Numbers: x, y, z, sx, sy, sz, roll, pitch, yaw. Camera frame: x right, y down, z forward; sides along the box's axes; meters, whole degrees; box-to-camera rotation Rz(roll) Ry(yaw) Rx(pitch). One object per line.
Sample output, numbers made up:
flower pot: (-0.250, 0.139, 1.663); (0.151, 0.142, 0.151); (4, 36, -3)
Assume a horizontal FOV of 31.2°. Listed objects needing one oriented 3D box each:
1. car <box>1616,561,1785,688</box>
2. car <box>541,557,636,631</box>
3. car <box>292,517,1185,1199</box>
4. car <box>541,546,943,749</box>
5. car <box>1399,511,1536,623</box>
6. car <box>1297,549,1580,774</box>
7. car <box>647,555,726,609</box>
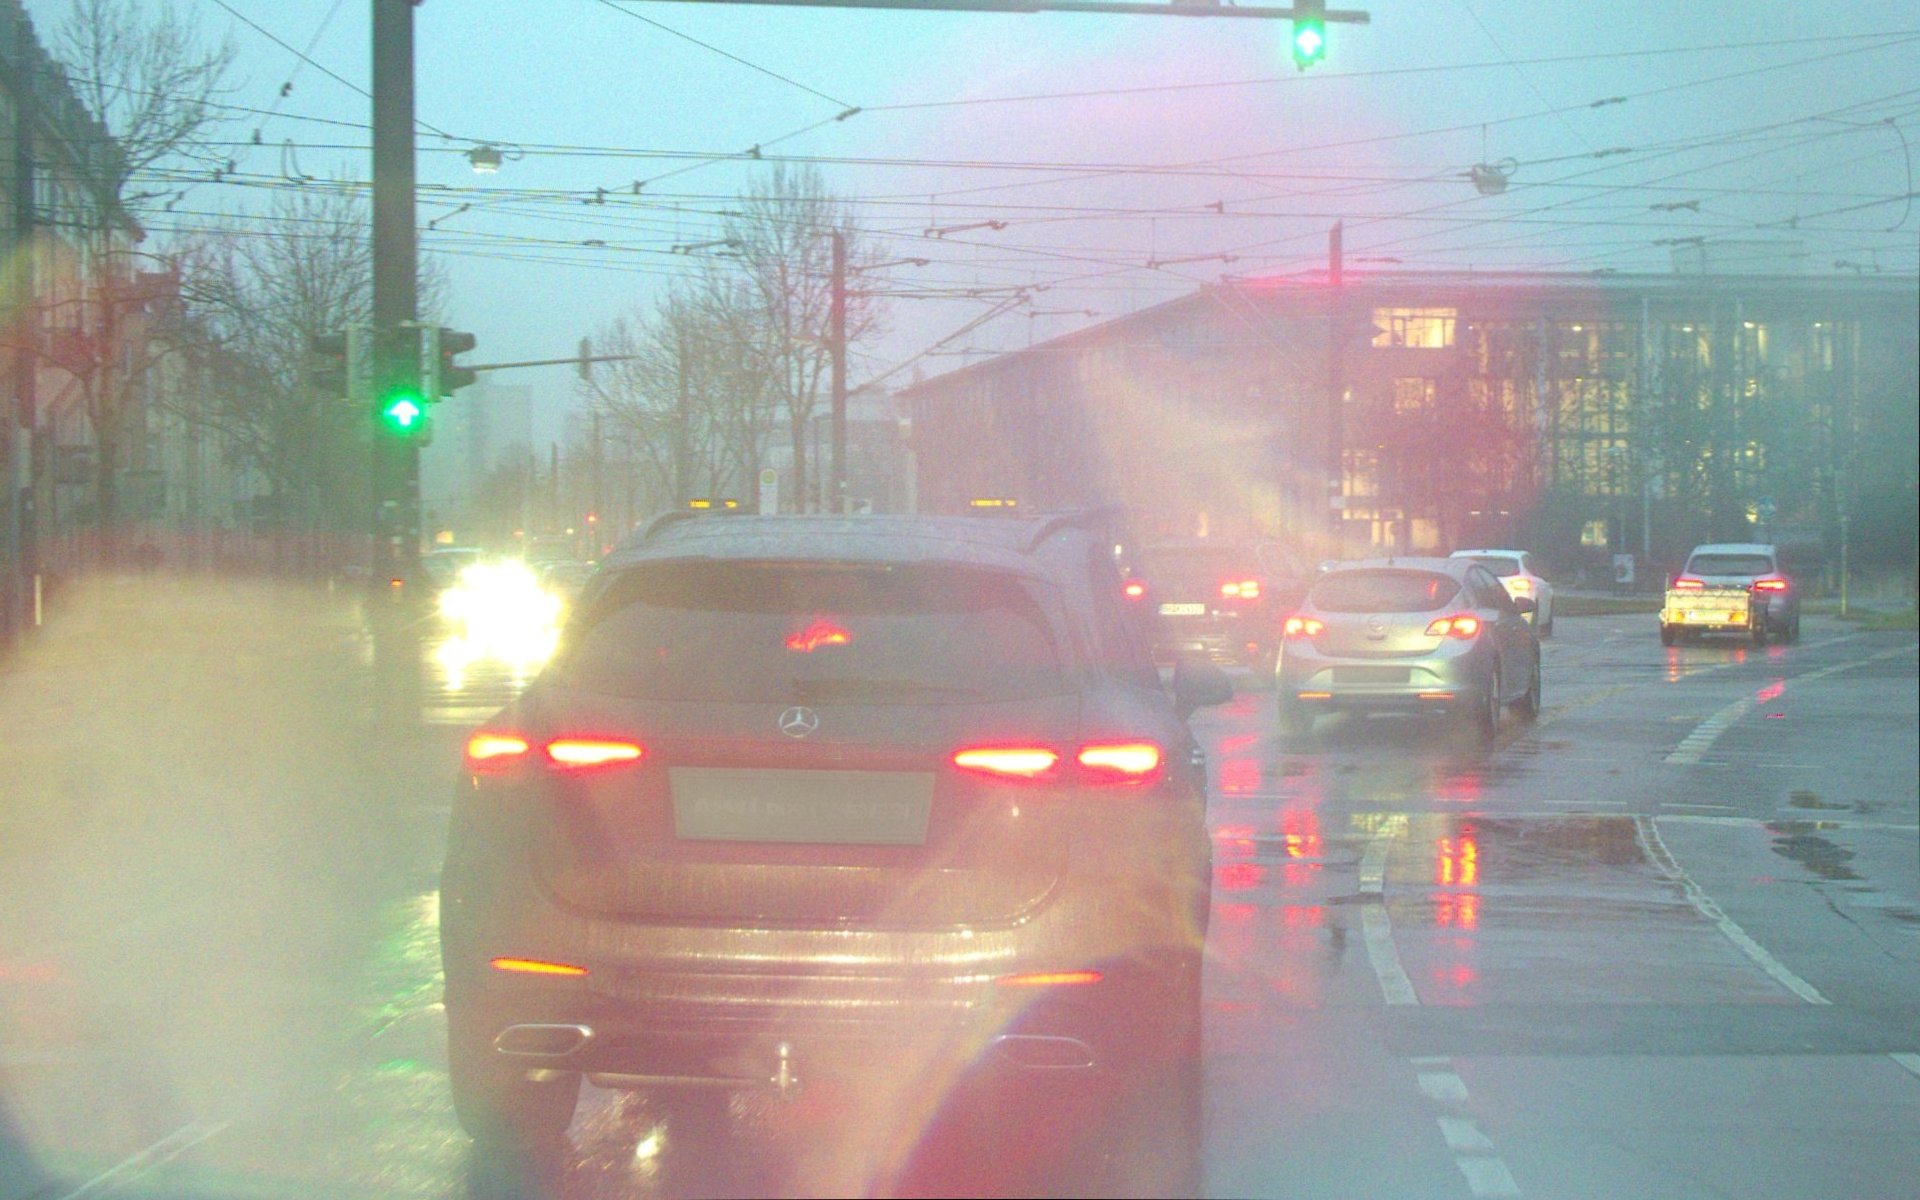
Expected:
car: (10.975, 0.321, 50.776); (1.995, 1.759, 3.996); (0, 1, 19)
car: (-7.477, -0.144, 69.449); (1.680, 1.452, 4.063); (0, 1, -3)
car: (-0.491, 0.585, 9.709); (1.991, 1.610, 4.000); (0, 1, 0)
car: (-1.550, 0.301, 26.085); (1.995, 1.393, 3.998); (0, 1, 13)
car: (8.349, -0.561, 56.273); (1.994, 1.759, 3.998); (0, 1, 12)
car: (4.173, 0.458, 29.481); (1.995, 1.759, 3.998); (0, 1, 14)
car: (-6.672, -0.446, 83.491); (1.536, 1.241, 4.088); (-1, 1, -10)
